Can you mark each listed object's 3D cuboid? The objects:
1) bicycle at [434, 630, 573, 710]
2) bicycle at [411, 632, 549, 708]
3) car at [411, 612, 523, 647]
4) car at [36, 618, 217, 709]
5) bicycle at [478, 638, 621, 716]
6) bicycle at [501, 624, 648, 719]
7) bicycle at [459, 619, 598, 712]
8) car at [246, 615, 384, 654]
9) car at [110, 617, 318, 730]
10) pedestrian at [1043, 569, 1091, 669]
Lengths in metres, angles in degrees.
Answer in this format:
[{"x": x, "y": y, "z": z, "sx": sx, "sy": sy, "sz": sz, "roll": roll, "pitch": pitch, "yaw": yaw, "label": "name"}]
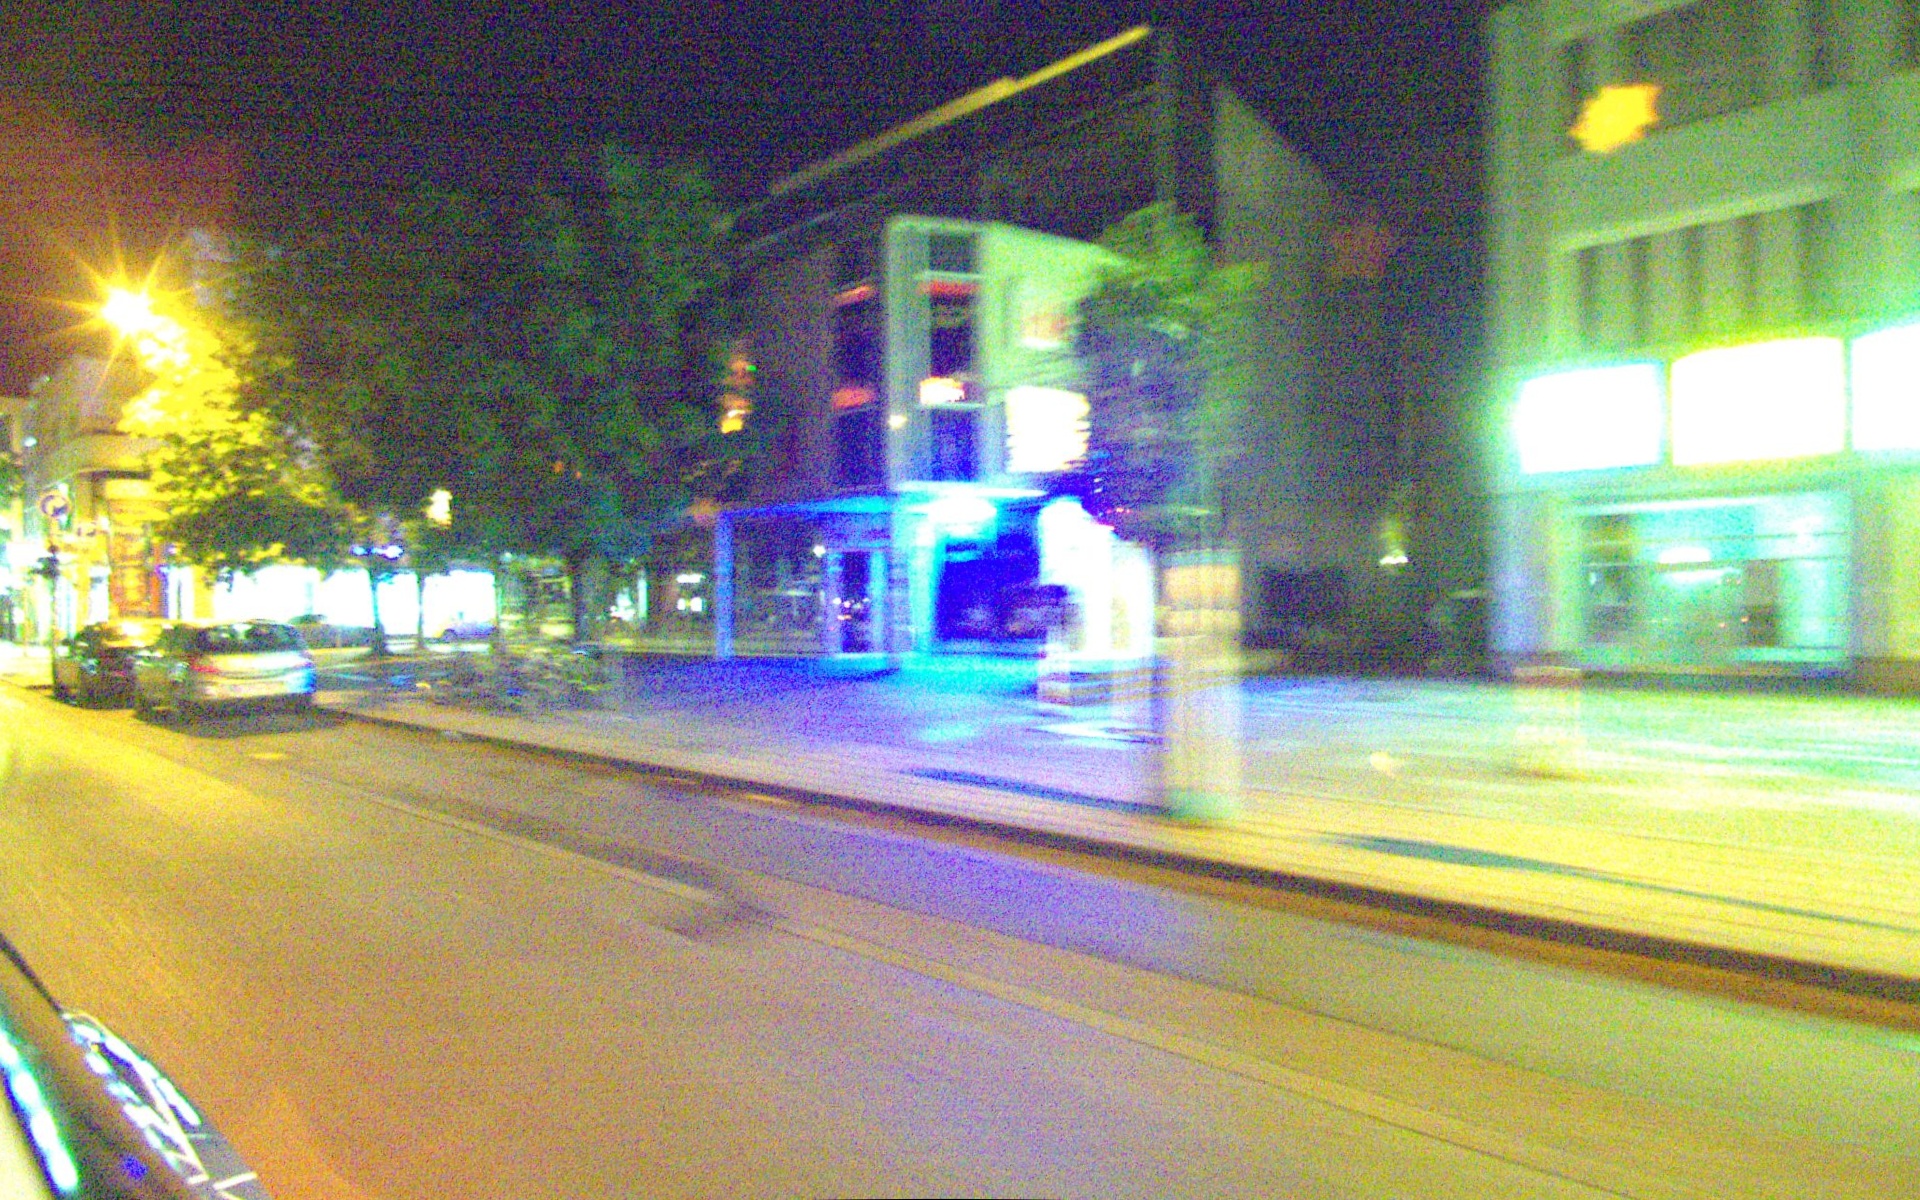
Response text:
[{"x": -6.801, "y": 1.019, "z": 15.169, "sx": 0.532, "sy": 1.043, "sz": 1.832, "roll": -1, "pitch": 0, "yaw": 40, "label": "bicycle"}, {"x": -7.337, "y": 1.046, "z": 15.545, "sx": 0.532, "sy": 1.007, "sz": 1.832, "roll": -1, "pitch": 1, "yaw": 40, "label": "bicycle"}, {"x": -21.802, "y": 1.274, "z": 44.854, "sx": 1.802, "sy": 1.448, "sz": 4.094, "roll": -1, "pitch": -1, "yaw": 39, "label": "car"}, {"x": -15.665, "y": 1.091, "z": 18.925, "sx": 4.918, "sy": 1.435, "sz": 1.788, "roll": -1, "pitch": 1, "yaw": 41, "label": "car"}, {"x": -5.672, "y": 1.038, "z": 14.074, "sx": 0.501, "sy": 0.975, "sz": 1.832, "roll": -1, "pitch": -1, "yaw": 40, "label": "bicycle"}, {"x": -5.148, "y": 0.920, "z": 13.621, "sx": 0.532, "sy": 1.175, "sz": 1.832, "roll": -1, "pitch": -1, "yaw": 40, "label": "bicycle"}, {"x": -6.247, "y": 0.916, "z": 14.742, "sx": 0.532, "sy": 1.263, "sz": 1.832, "roll": -1, "pitch": -1, "yaw": 40, "label": "bicycle"}, {"x": -25.522, "y": 1.334, "z": 40.138, "sx": 1.802, "sy": 1.408, "sz": 4.285, "roll": -1, "pitch": -1, "yaw": 39, "label": "car"}, {"x": -11.516, "y": 1.029, "z": 15.527, "sx": 3.974, "sy": 1.439, "sz": 1.704, "roll": -1, "pitch": 1, "yaw": 41, "label": "car"}, {"x": 1.793, "y": 0.321, "z": 16.983, "sx": 0.631, "sy": 1.649, "sz": 0.473, "roll": -1, "pitch": -1, "yaw": 41, "label": "pedestrian"}]
